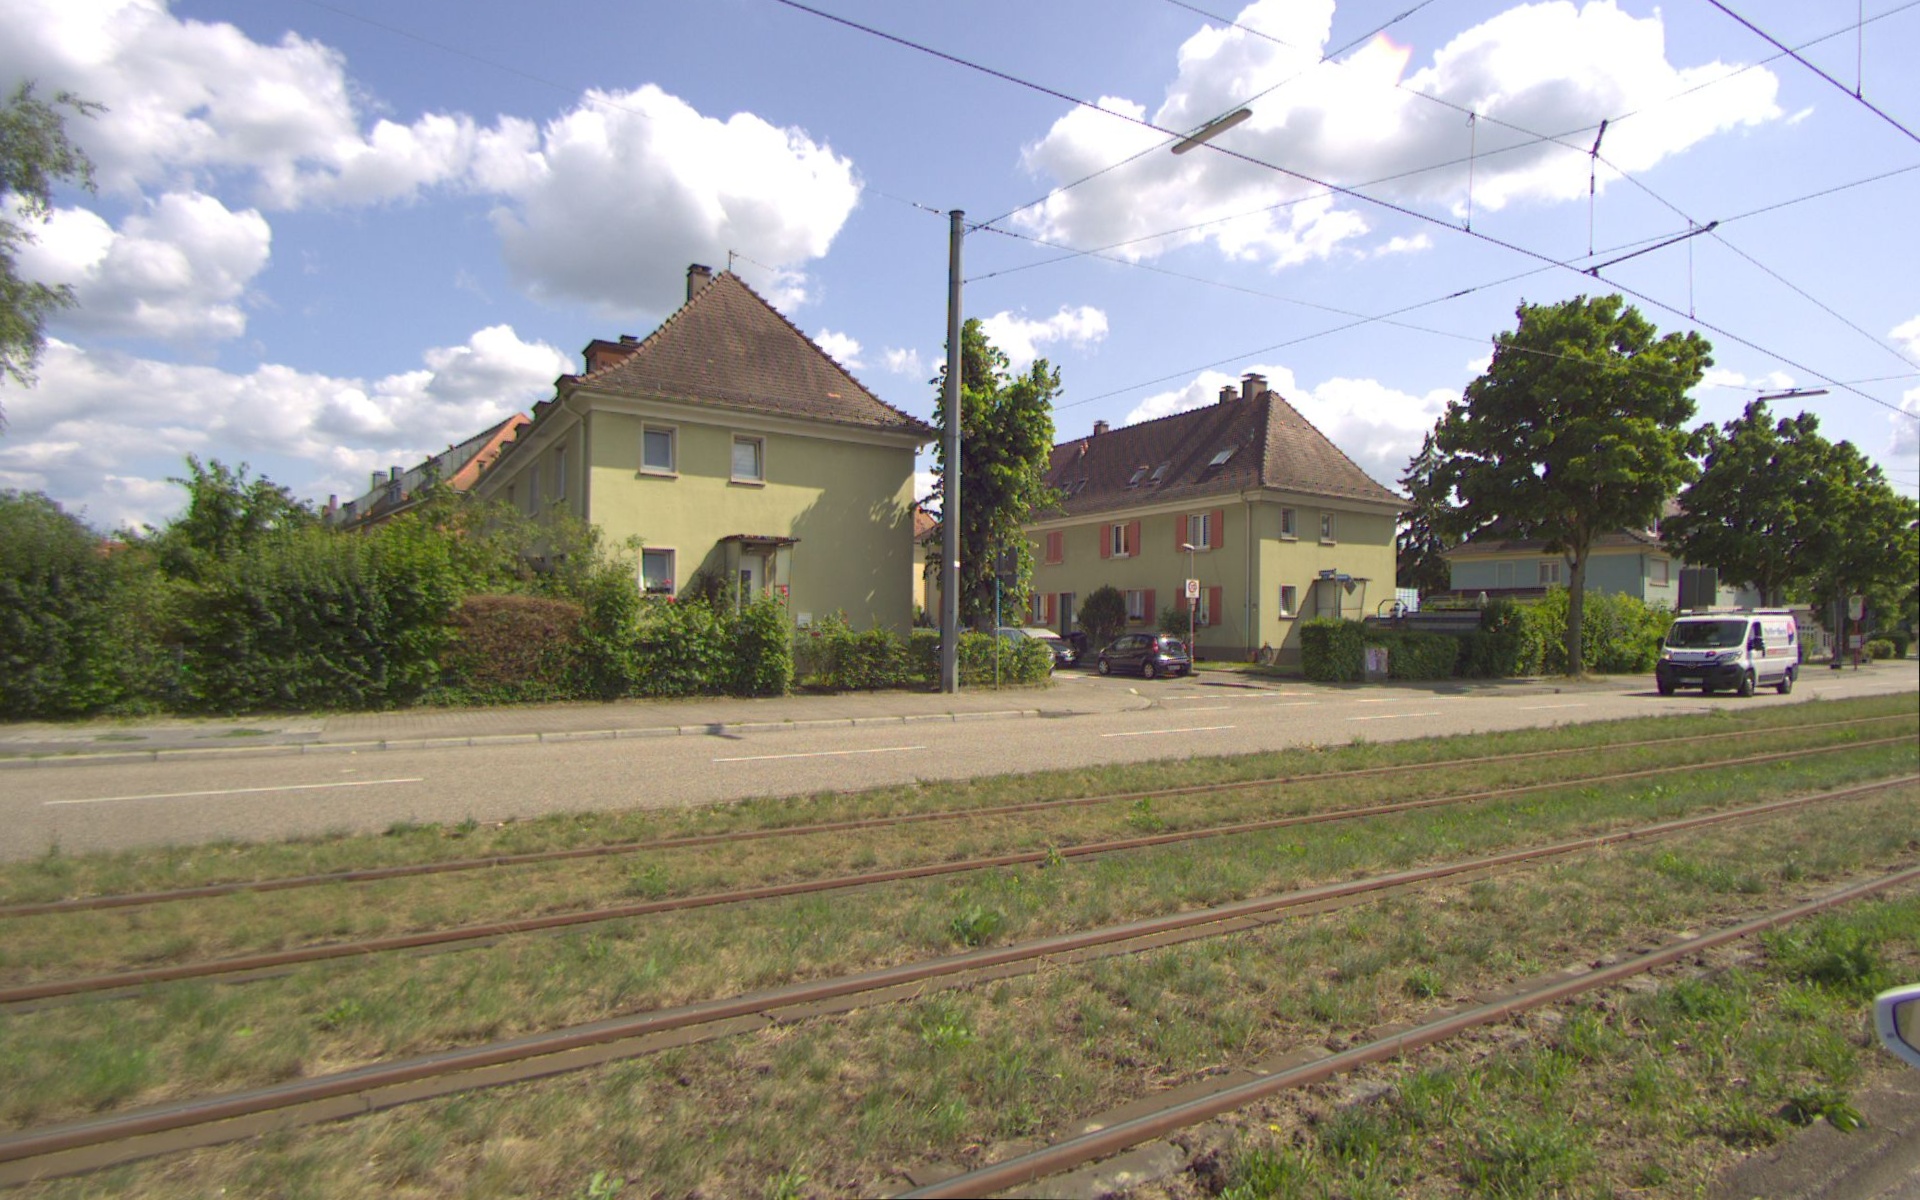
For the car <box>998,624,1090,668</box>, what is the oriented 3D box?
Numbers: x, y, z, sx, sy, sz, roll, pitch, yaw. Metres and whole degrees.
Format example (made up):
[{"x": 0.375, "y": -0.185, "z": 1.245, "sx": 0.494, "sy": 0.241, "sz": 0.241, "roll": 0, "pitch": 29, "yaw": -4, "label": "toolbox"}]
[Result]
[{"x": 3.169, "y": 1.733, "z": 38.570, "sx": 1.707, "sy": 1.595, "sz": 3.723, "roll": 1, "pitch": -2, "yaw": -31, "label": "car"}]

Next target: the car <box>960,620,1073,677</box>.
[{"x": 1.736, "y": 1.524, "z": 31.990, "sx": 1.803, "sy": 1.708, "sz": 3.722, "roll": 1, "pitch": -2, "yaw": -32, "label": "car"}]

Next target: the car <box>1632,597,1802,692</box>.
[{"x": 21.037, "y": 1.255, "z": 27.843, "sx": 5.278, "sy": 2.403, "sz": 2.183, "roll": 2, "pitch": -3, "yaw": -34, "label": "car"}]

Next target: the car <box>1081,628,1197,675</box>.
[{"x": 5.988, "y": 1.687, "z": 33.935, "sx": 1.874, "sy": 1.487, "sz": 3.720, "roll": 1, "pitch": -2, "yaw": -33, "label": "car"}]
